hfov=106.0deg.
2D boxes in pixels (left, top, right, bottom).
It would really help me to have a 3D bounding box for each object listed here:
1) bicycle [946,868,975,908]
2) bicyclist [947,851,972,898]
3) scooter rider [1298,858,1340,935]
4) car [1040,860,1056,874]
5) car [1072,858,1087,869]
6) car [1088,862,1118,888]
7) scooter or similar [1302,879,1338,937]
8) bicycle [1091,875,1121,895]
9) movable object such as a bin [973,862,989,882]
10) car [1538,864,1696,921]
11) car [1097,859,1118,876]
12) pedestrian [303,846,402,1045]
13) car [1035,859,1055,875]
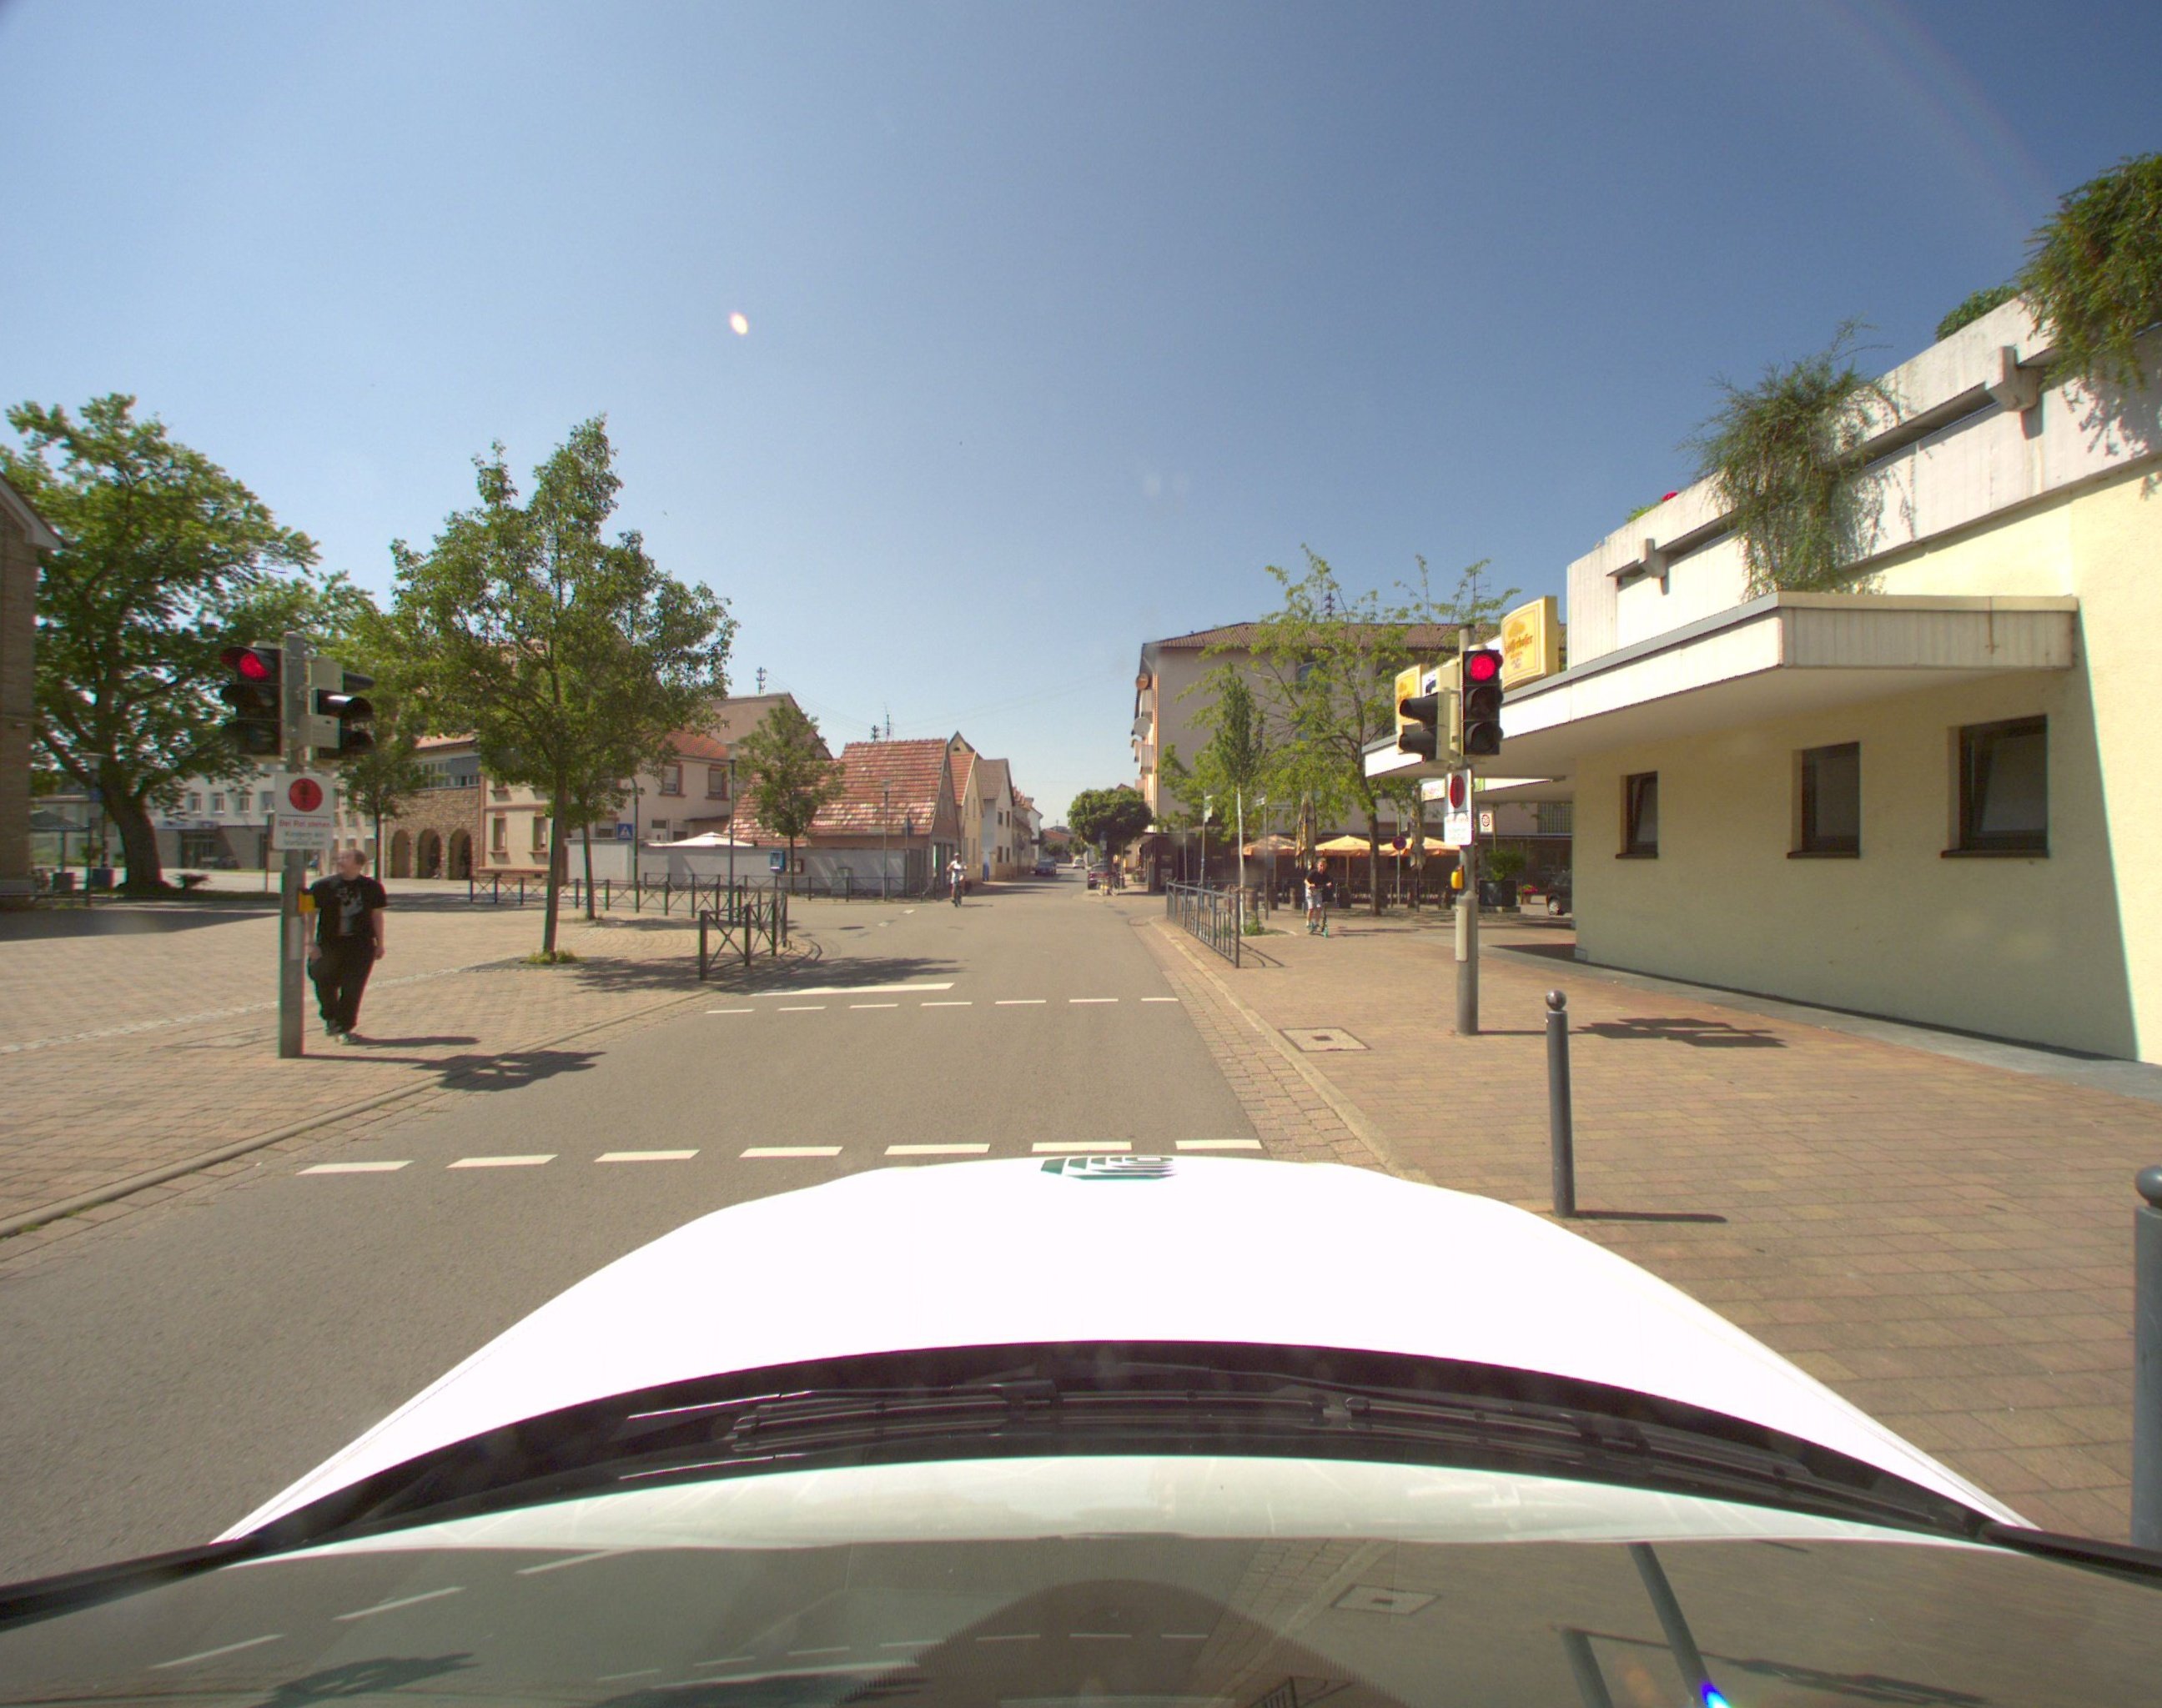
[{"bbox_3d":[-3.981,1.091,26.957,0.706,1.252,1.971,0,-1,-2],"label":"bicycle"},{"bbox_3d":[-3.985,0.677,26.759,0.712,1.506,0.870,0,-1,-2],"label":"bicyclist"},{"bbox_3d":[4.249,0.731,14.596,0.460,1.325,1.134,0,-1,2],"label":"scooter rider"},{"bbox_3d":[-3.449,1.329,85.000,1.659,1.476,3.448,0,-1,-2],"label":"car"},{"bbox_3d":[-0.258,1.437,121.154,2.023,1.598,4.502,0,-1,-4],"label":"car"},{"bbox_3d":[1.304,1.190,47.302,1.569,1.454,3.489,0,-1,4],"label":"car"},{"bbox_3d":[4.260,0.948,14.553,0.409,0.965,0.961,0,-1,3],"label":"scooter or similar"},{"bbox_3d":[1.190,1.482,38.677,1.396,0.897,0.468,-2,0,38],"label":"bicycle"},{"bbox_3d":[-7.010,1.256,57.092,1.096,1.366,0.390,0,-1,5],"label":"movable object such as a bin"},{"bbox_3d":[15.246,1.056,23.455,1.763,1.510,3.965,1,-1,-4],"label":"car"},{"bbox_3d":[2.669,1.328,81.161,2.035,1.689,4.843,0,-1,2],"label":"car"},{"bbox_3d":[-6.276,0.750,7.020,0.543,1.619,0.560,-1,-2,44],"label":"pedestrian"},{"bbox_3d":[-3.432,1.203,78.442,1.657,1.476,4.135,0,-1,1],"label":"car"}]
